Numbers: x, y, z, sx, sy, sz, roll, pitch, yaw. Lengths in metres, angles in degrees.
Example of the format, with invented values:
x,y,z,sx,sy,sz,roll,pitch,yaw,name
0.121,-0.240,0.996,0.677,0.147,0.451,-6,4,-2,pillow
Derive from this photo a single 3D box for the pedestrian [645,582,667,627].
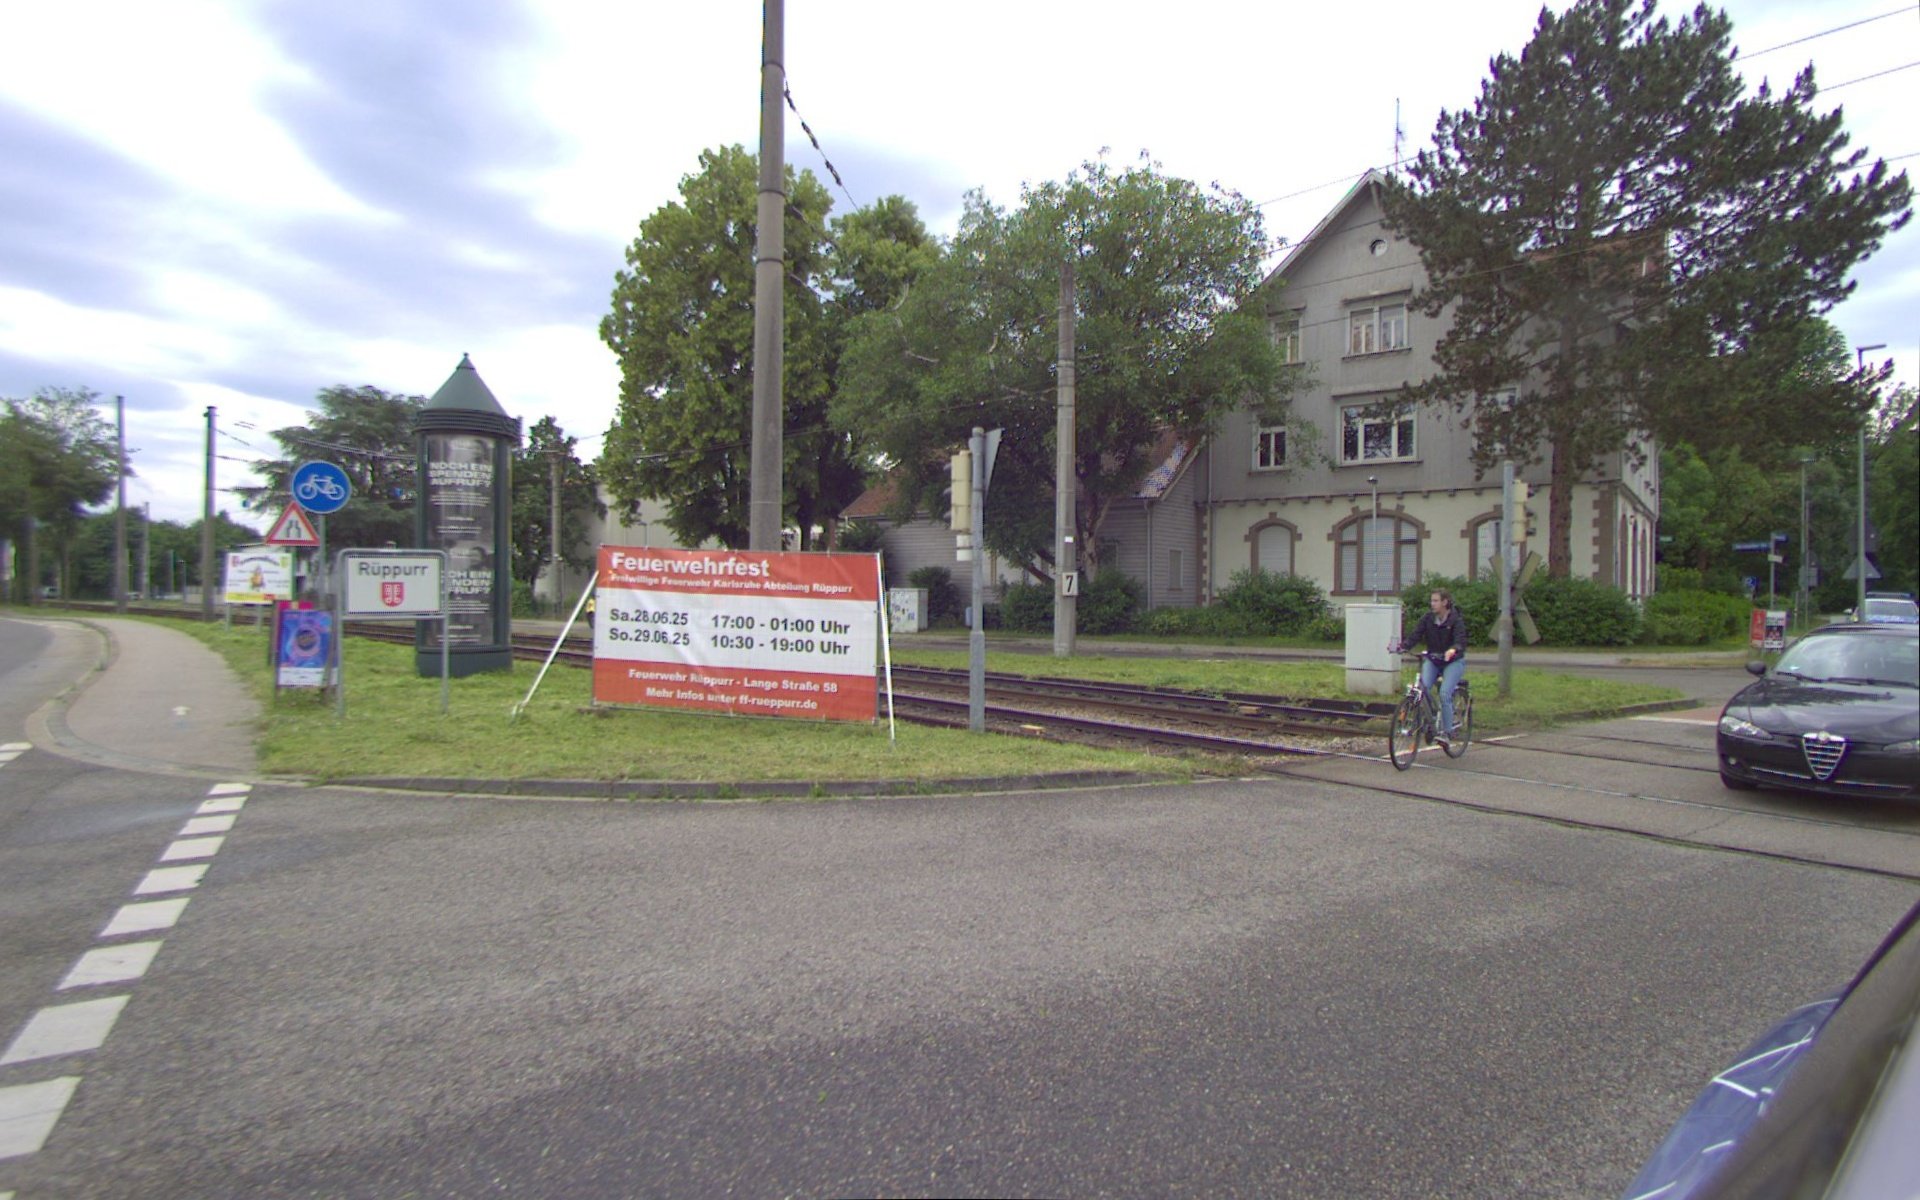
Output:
x,y,z,sx,sy,sz,roll,pitch,yaw,name
-12.597,0.175,41.962,0.700,1.863,0.608,0,0,8,pedestrian

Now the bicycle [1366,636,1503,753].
x,y,z,sx,sy,sz,roll,pitch,yaw,name
4.769,0.896,10.097,1.992,0.993,0.383,-1,1,-38,bicycle

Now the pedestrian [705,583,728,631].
x,y,z,sx,sy,sz,roll,pitch,yaw,name
-9.274,0.265,38.568,0.571,1.784,0.629,0,1,32,pedestrian

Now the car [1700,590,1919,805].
x,y,z,sx,sy,sz,roll,pitch,yaw,name
8.304,0.675,8.872,4.458,1.475,1.802,-1,1,-38,car

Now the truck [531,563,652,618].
x,y,z,sx,sy,sz,roll,pitch,yaw,name
-16.855,-0.458,46.069,6.389,2.322,2.565,1,1,43,truck

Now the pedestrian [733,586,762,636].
x,y,z,sx,sy,sz,roll,pitch,yaw,name
-8.040,0.398,38.239,0.857,1.878,0.680,0,0,-35,pedestrian

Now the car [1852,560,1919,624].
x,y,z,sx,sy,sz,roll,pitch,yaw,name
29.460,-0.290,31.809,1.928,1.872,3.943,3,3,40,car

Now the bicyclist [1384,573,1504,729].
x,y,z,sx,sy,sz,roll,pitch,yaw,name
4.748,0.480,9.922,0.944,1.443,0.622,-1,-3,-38,bicyclist
